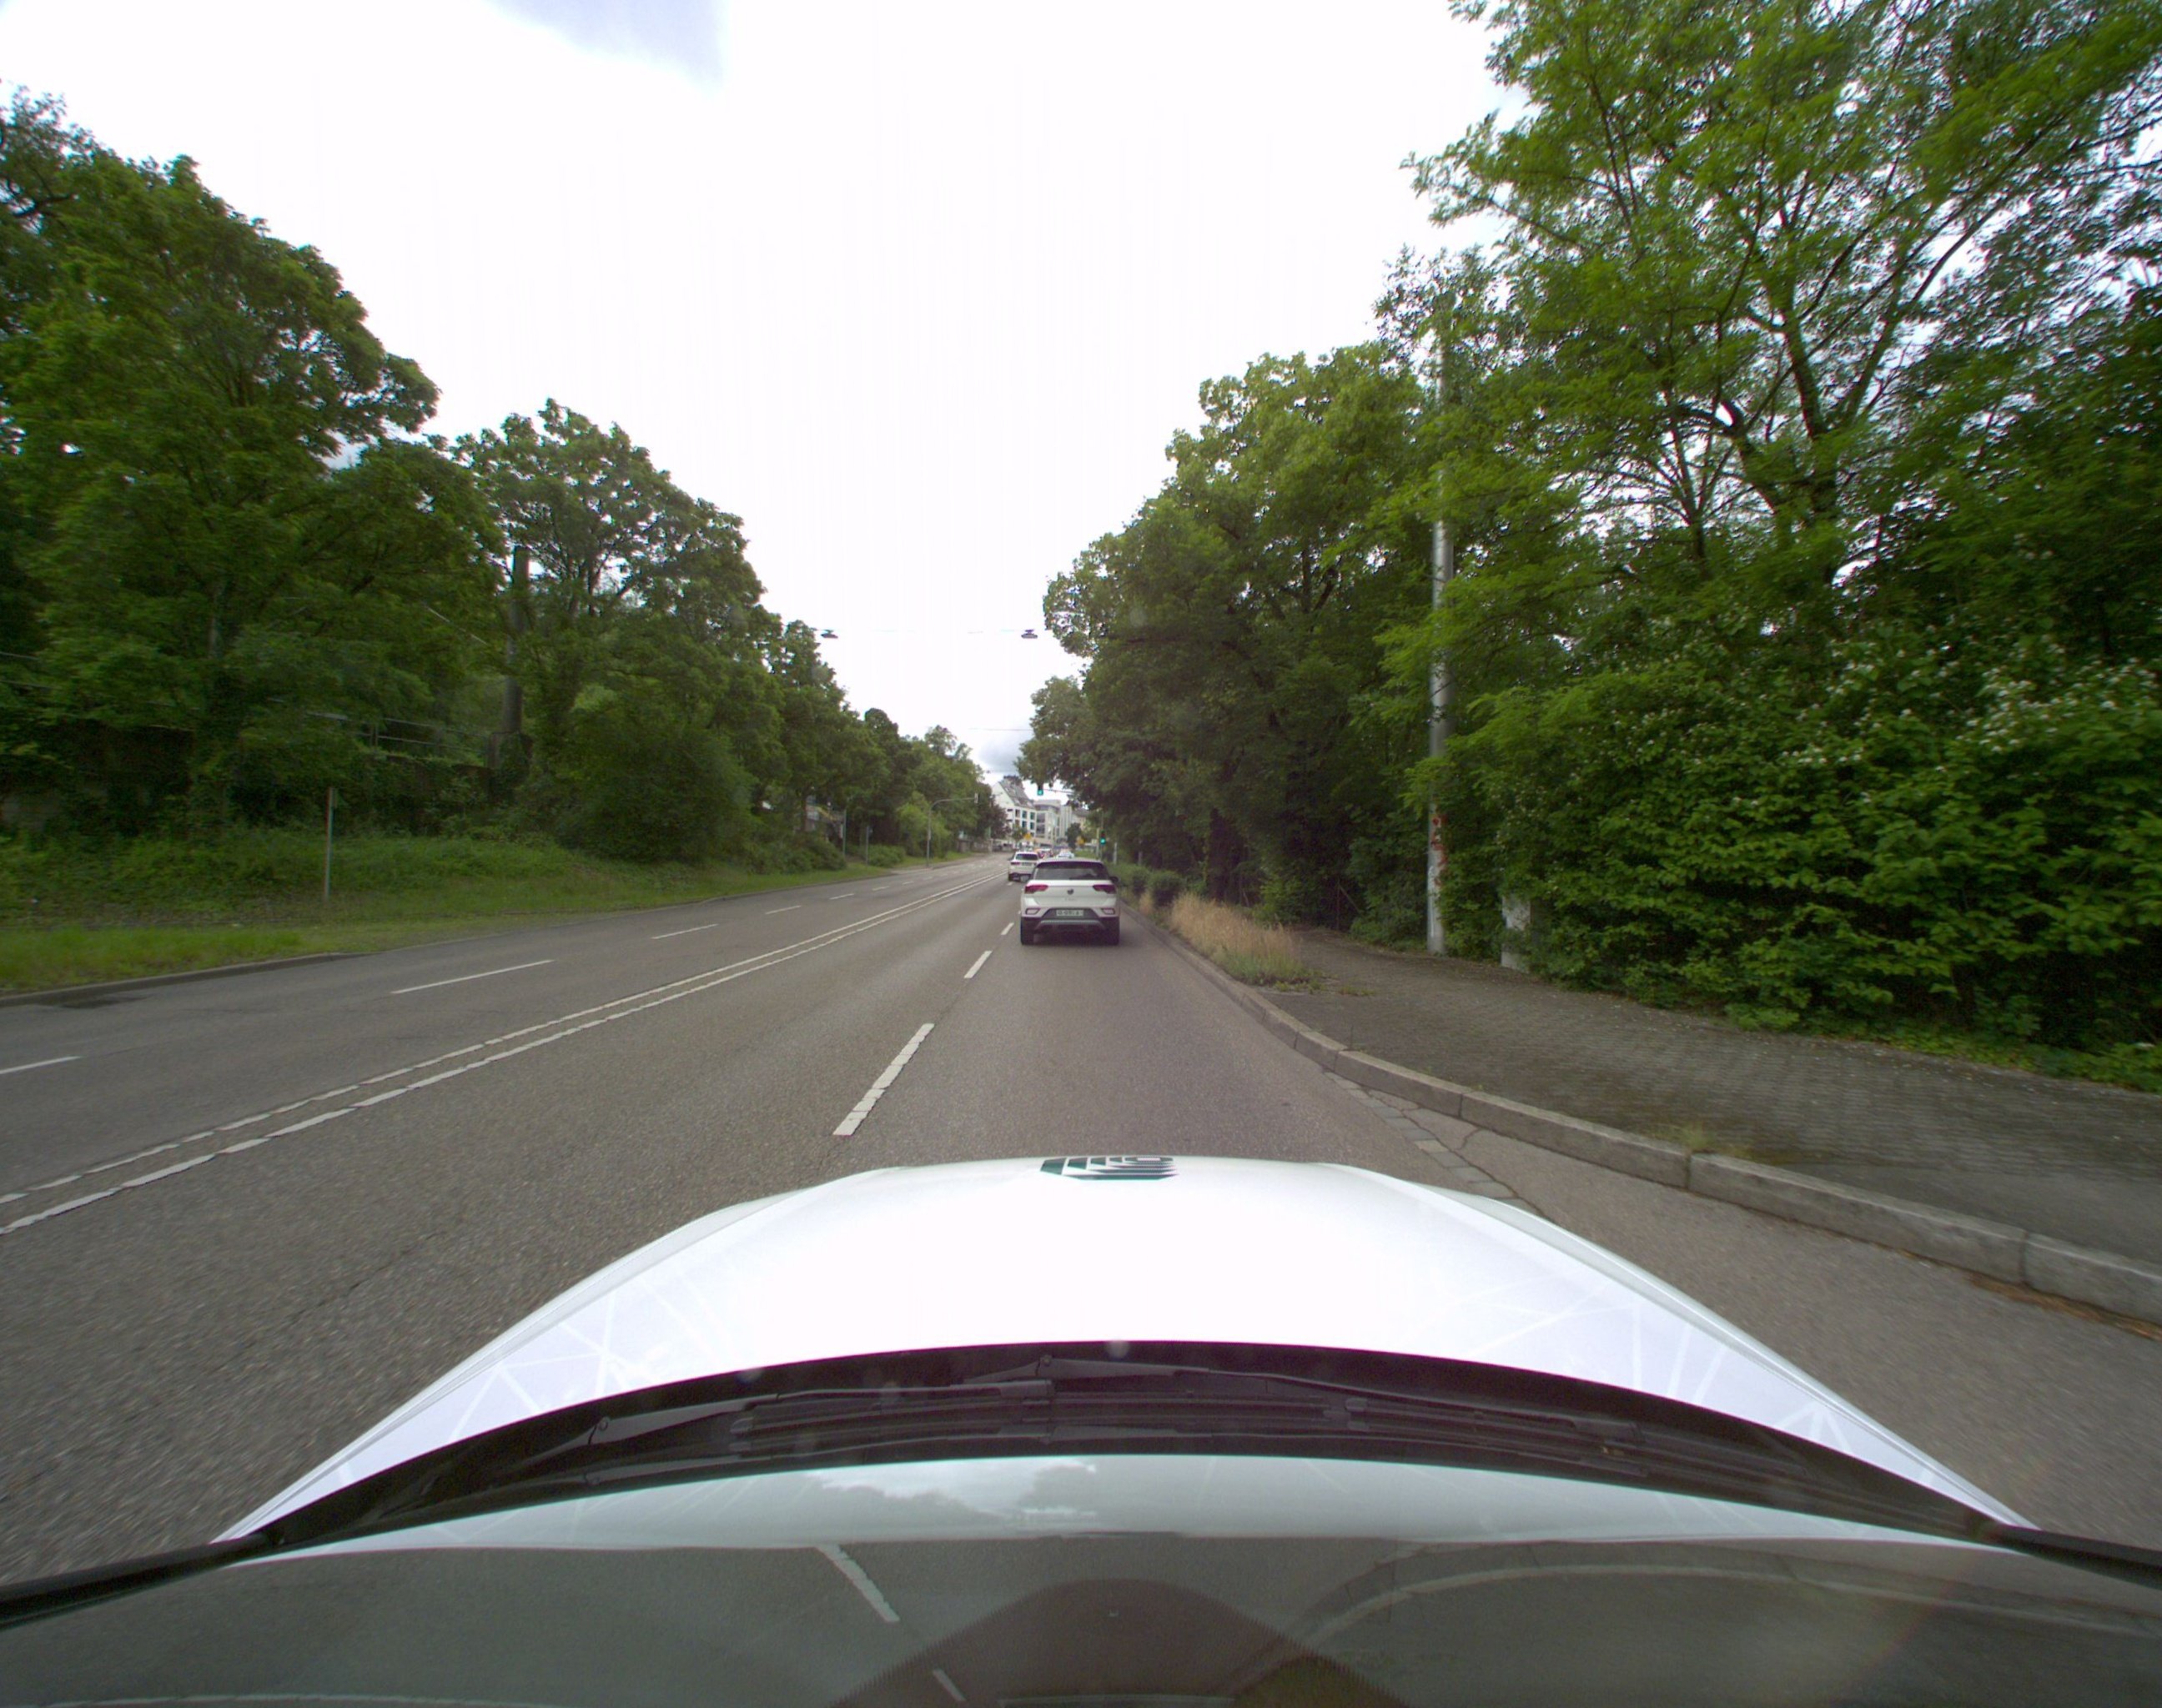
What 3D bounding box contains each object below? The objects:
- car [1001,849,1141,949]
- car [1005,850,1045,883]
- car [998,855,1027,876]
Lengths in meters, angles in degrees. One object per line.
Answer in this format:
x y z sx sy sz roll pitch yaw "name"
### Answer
-0.341 0.773 15.674 2.001 1.596 3.985 -2 -1 -10 "car"
-3.121 0.641 44.873 1.851 1.703 3.988 -1 0 -9 "car"
-5.288 0.880 62.473 1.948 1.466 3.989 1 1 -8 "car"
